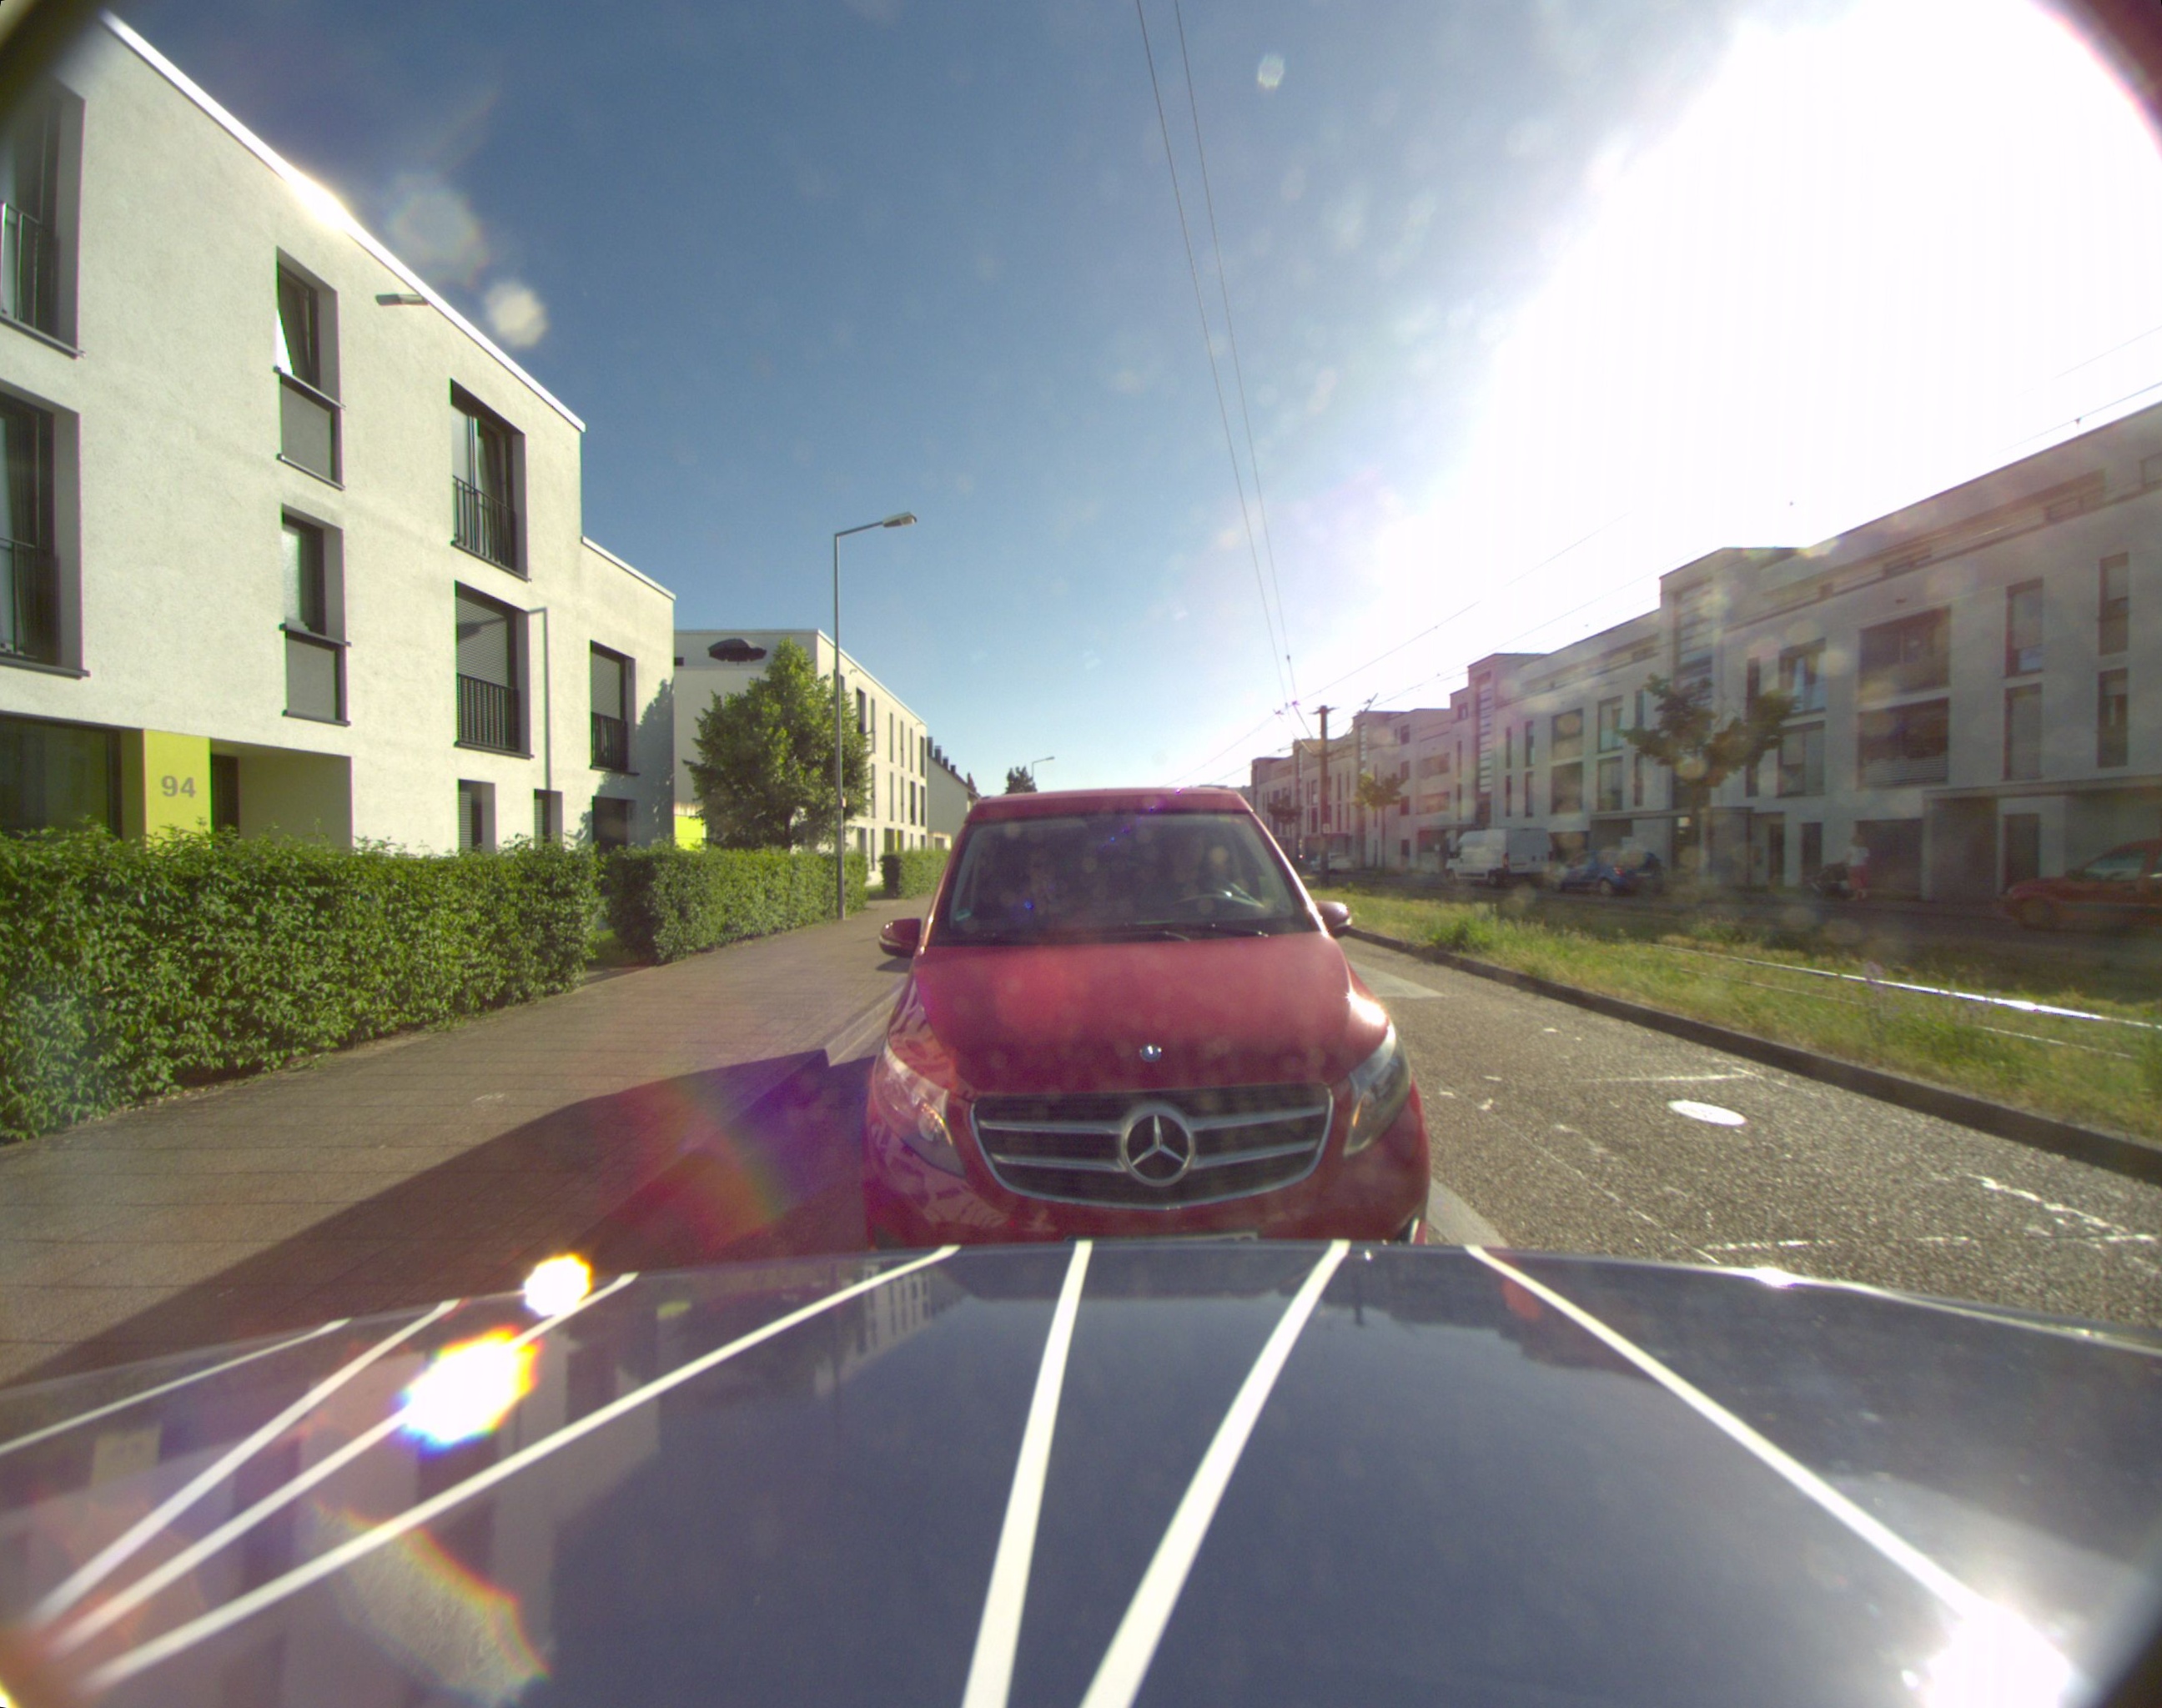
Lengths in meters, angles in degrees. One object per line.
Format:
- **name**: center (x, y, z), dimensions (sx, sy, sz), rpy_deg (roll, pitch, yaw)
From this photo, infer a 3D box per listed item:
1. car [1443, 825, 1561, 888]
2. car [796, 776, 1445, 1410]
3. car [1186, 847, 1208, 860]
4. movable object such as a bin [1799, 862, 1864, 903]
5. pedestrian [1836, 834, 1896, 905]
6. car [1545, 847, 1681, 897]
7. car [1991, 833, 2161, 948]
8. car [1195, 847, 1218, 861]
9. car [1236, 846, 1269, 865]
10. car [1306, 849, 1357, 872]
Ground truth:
- **car**: center (18.172, 0.076, 33.162), dimensions (2.225, 2.458, 5.195), rpy_deg (-2, 1, 0)
- **car**: center (0.154, 0.701, 4.525), dimensions (1.874, 1.843, 4.506), rpy_deg (-2, 1, 1)
- **car**: center (15.194, -0.058, 99.649), dimensions (1.923, 1.671, 4.282), rpy_deg (-2, 1, -4)
- **movable object such as a bin**: center (20.814, 0.776, 21.090), dimensions (0.729, 1.048, 1.083), rpy_deg (-2, 1, 1)
- **pedestrian**: center (20.791, 0.408, 20.139), dimensions (0.776, 1.812, 0.785), rpy_deg (-2, 1, 1)
- **car**: center (18.380, 0.577, 26.490), dimensions (1.998, 1.536, 3.835), rpy_deg (-2, 1, 0)
- **car**: center (18.619, 0.580, 12.800), dimensions (1.998, 1.817, 3.895), rpy_deg (-2, 1, 3)
- **car**: center (15.481, -0.036, 93.897), dimensions (1.923, 1.671, 4.282), rpy_deg (-2, 1, -4)
- **car**: center (16.724, 0.135, 74.345), dimensions (1.923, 1.671, 4.282), rpy_deg (-2, 1, -4)
- **car**: center (17.638, 0.417, 53.731), dimensions (1.923, 1.497, 4.282), rpy_deg (-2, 1, -4)
